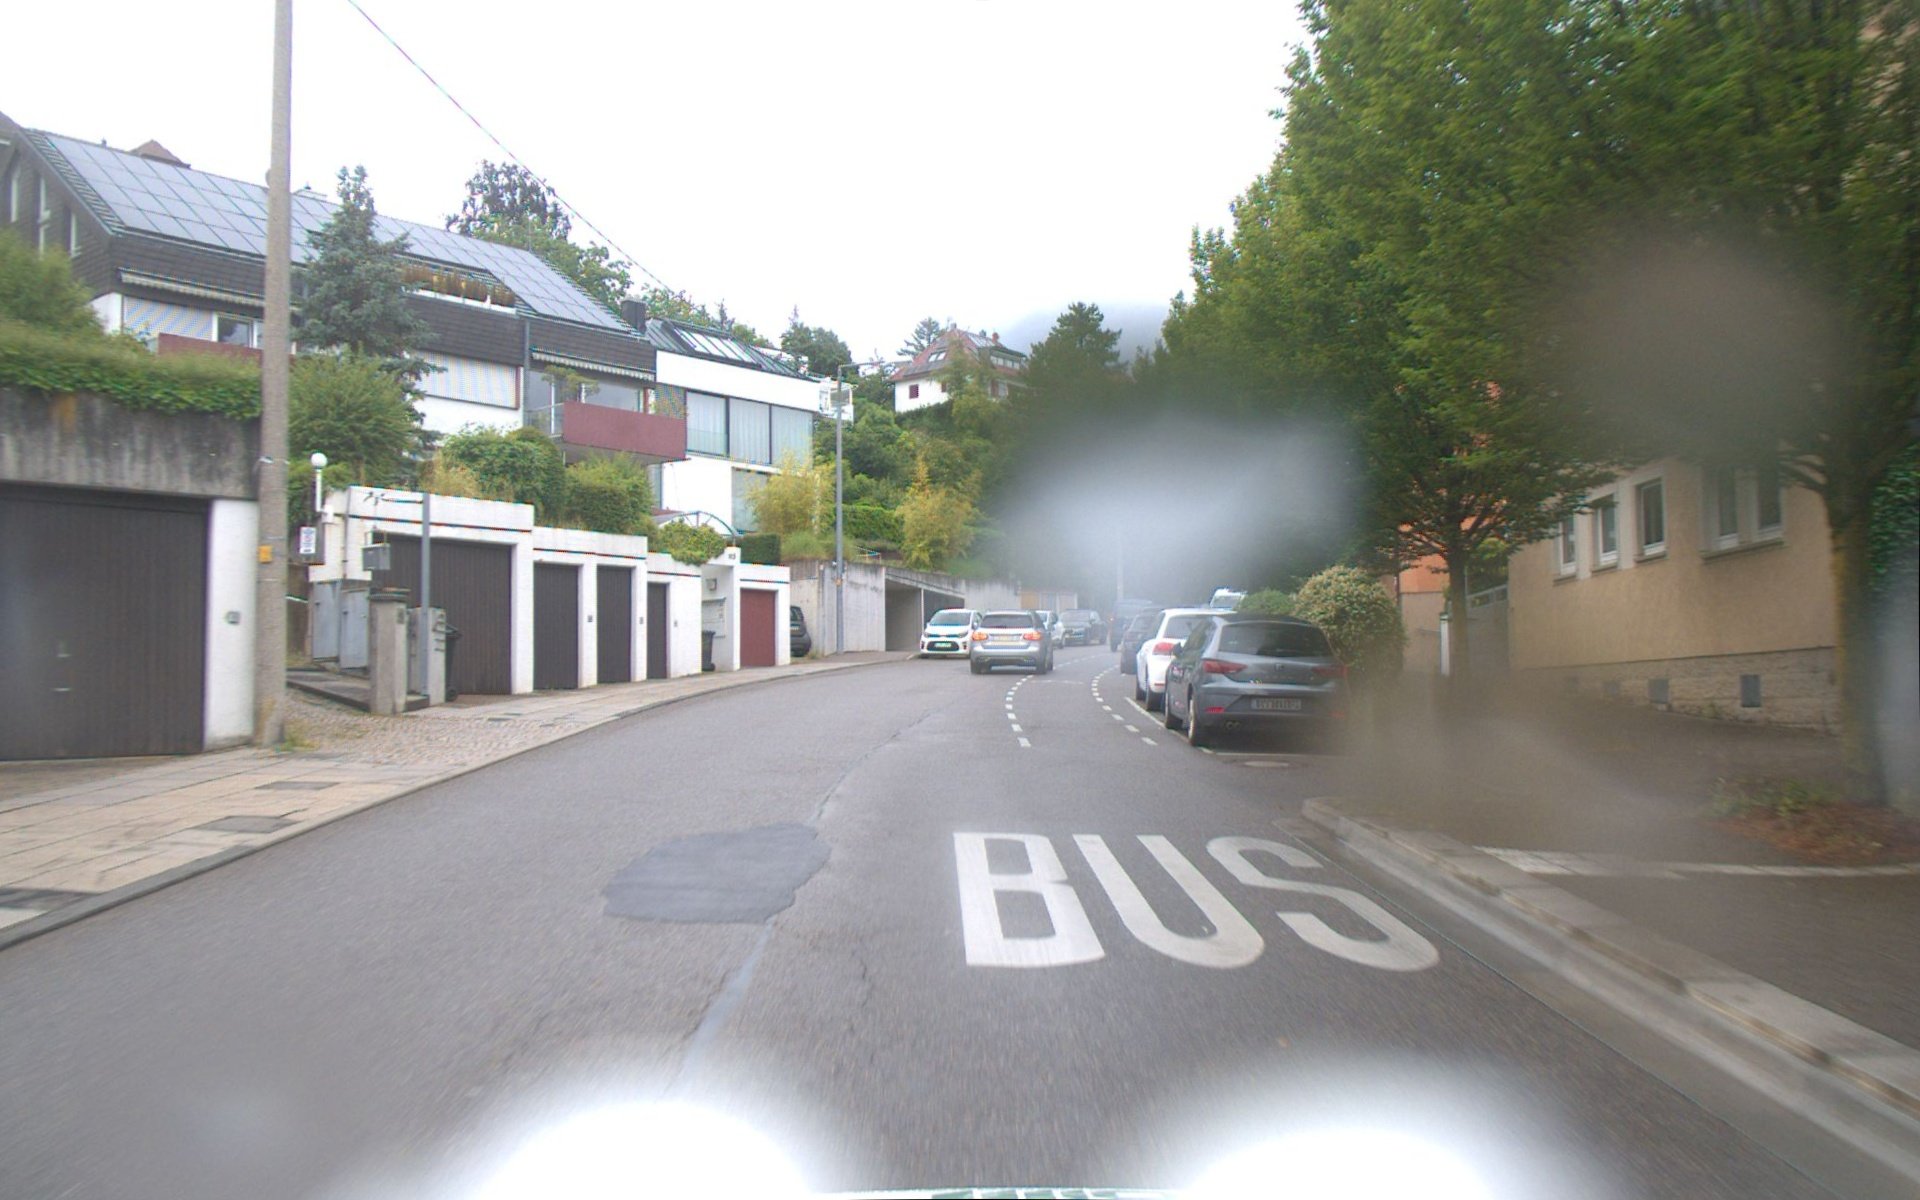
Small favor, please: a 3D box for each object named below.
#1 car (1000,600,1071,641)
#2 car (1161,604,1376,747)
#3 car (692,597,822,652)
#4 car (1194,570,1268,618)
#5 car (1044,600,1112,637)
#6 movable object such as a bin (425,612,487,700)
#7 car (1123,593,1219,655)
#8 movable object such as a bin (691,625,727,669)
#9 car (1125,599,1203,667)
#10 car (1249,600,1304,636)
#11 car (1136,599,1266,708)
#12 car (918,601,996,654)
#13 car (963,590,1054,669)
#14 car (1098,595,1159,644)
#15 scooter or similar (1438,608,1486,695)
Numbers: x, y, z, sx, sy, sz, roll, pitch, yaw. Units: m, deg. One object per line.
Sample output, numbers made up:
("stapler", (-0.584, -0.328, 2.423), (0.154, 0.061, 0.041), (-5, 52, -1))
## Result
("car", (2.903, 0.769, 63.106), (1.793, 1.465, 4.042), (-1, 0, 16))
("car", (3.496, 0.798, 19.523), (1.839, 1.441, 4.469), (0, 0, 2))
("car", (-6.117, 0.702, 49.565), (3.860, 1.504, 1.758), (2, 1, 41))
("car", (15.280, -0.366, 93.076), (2.055, 2.594, 6.085), (-1, 0, 30))
("car", (4.984, 0.764, 69.374), (1.677, 1.485, 4.684), (-1, 0, 19))
("movable object such as a bin", (-6.805, 0.751, 22.349), (0.519, 1.166, 0.597), (0, -2, 43))
("car", (6.088, 0.645, 47.250), (2.010, 1.685, 5.239), (0, 0, 15))
("movable object such as a bin", (-5.762, 1.076, 37.993), (0.534, 0.980, 0.643), (0, 0, 39))
("car", (5.105, 0.778, 41.244), (1.815, 1.608, 4.861), (0, 0, 8))
("car", (14.076, 0.774, 73.512), (1.635, 1.496, 3.709), (1, 1, 23))
("car", (3.651, 0.760, 25.650), (1.622, 1.515, 4.002), (1, 0, 3))
("car", (-0.056, 0.825, 51.403), (1.592, 1.542, 3.835), (-1, 0, 13))
("car", (1.195, 0.662, 39.051), (1.982, 1.738, 4.217), (0, 0, 4))
("car", (6.217, 0.705, 60.759), (1.951, 1.738, 4.003), (0, 0, 10))
("scooter or similar", (7.555, 0.758, 24.906), (0.404, 1.267, 1.175), (-1, 0, 3))
